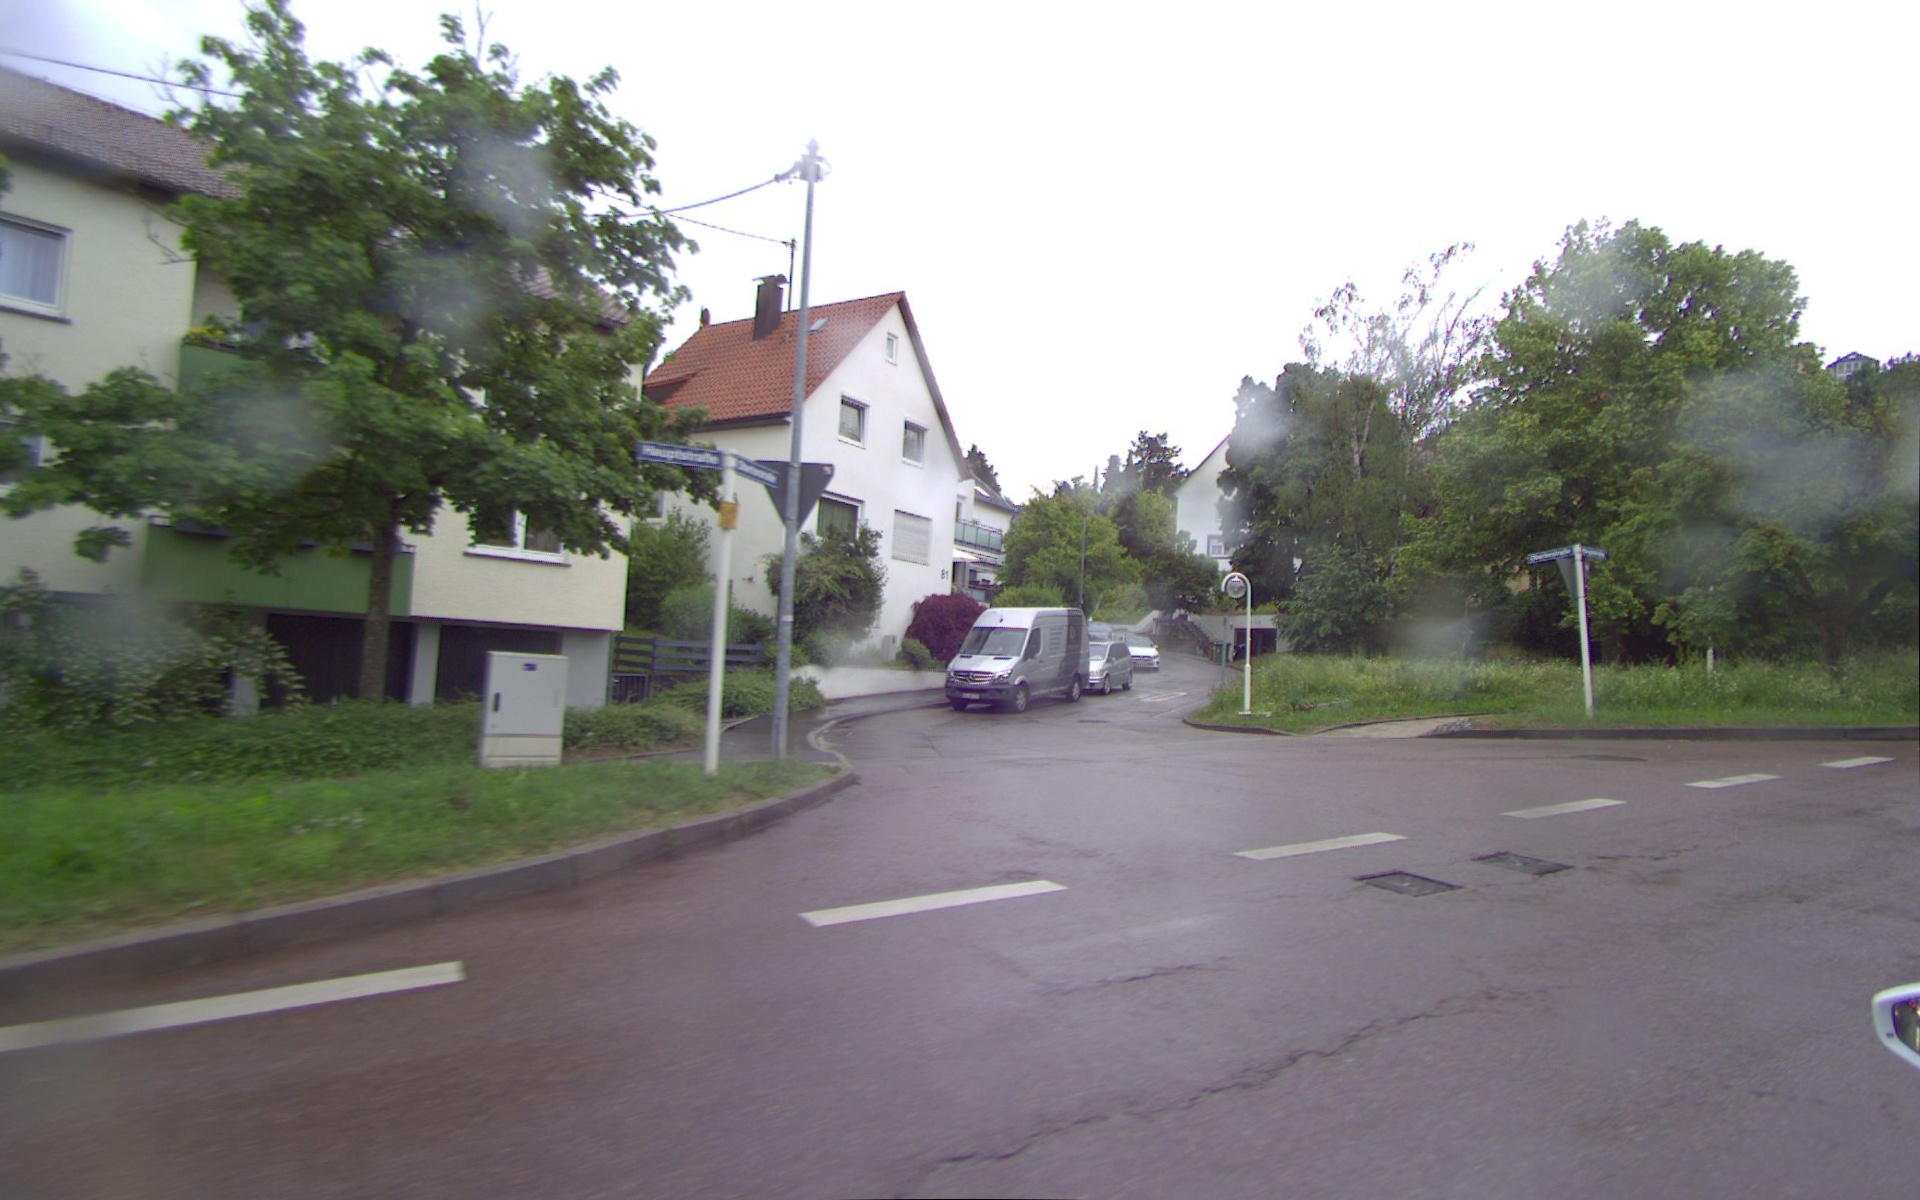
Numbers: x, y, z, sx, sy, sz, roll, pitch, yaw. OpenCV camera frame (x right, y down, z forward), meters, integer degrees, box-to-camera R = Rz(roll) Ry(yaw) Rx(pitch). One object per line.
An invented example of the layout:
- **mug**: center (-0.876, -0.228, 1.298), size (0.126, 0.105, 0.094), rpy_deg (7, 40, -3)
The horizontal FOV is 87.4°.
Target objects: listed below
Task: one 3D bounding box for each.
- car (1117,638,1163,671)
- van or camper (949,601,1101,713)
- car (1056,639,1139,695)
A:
- **car**: center (8.188, 2.451, 45.952), size (1.687, 1.270, 3.976), rpy_deg (1, 0, 5)
- **van or camper**: center (1.927, 1.413, 27.127), size (1.611, 2.591, 6.055), rpy_deg (3, 1, 29)
- **car**: center (4.496, 2.093, 32.400), size (1.531, 1.569, 4.036), rpy_deg (1, -1, 25)
